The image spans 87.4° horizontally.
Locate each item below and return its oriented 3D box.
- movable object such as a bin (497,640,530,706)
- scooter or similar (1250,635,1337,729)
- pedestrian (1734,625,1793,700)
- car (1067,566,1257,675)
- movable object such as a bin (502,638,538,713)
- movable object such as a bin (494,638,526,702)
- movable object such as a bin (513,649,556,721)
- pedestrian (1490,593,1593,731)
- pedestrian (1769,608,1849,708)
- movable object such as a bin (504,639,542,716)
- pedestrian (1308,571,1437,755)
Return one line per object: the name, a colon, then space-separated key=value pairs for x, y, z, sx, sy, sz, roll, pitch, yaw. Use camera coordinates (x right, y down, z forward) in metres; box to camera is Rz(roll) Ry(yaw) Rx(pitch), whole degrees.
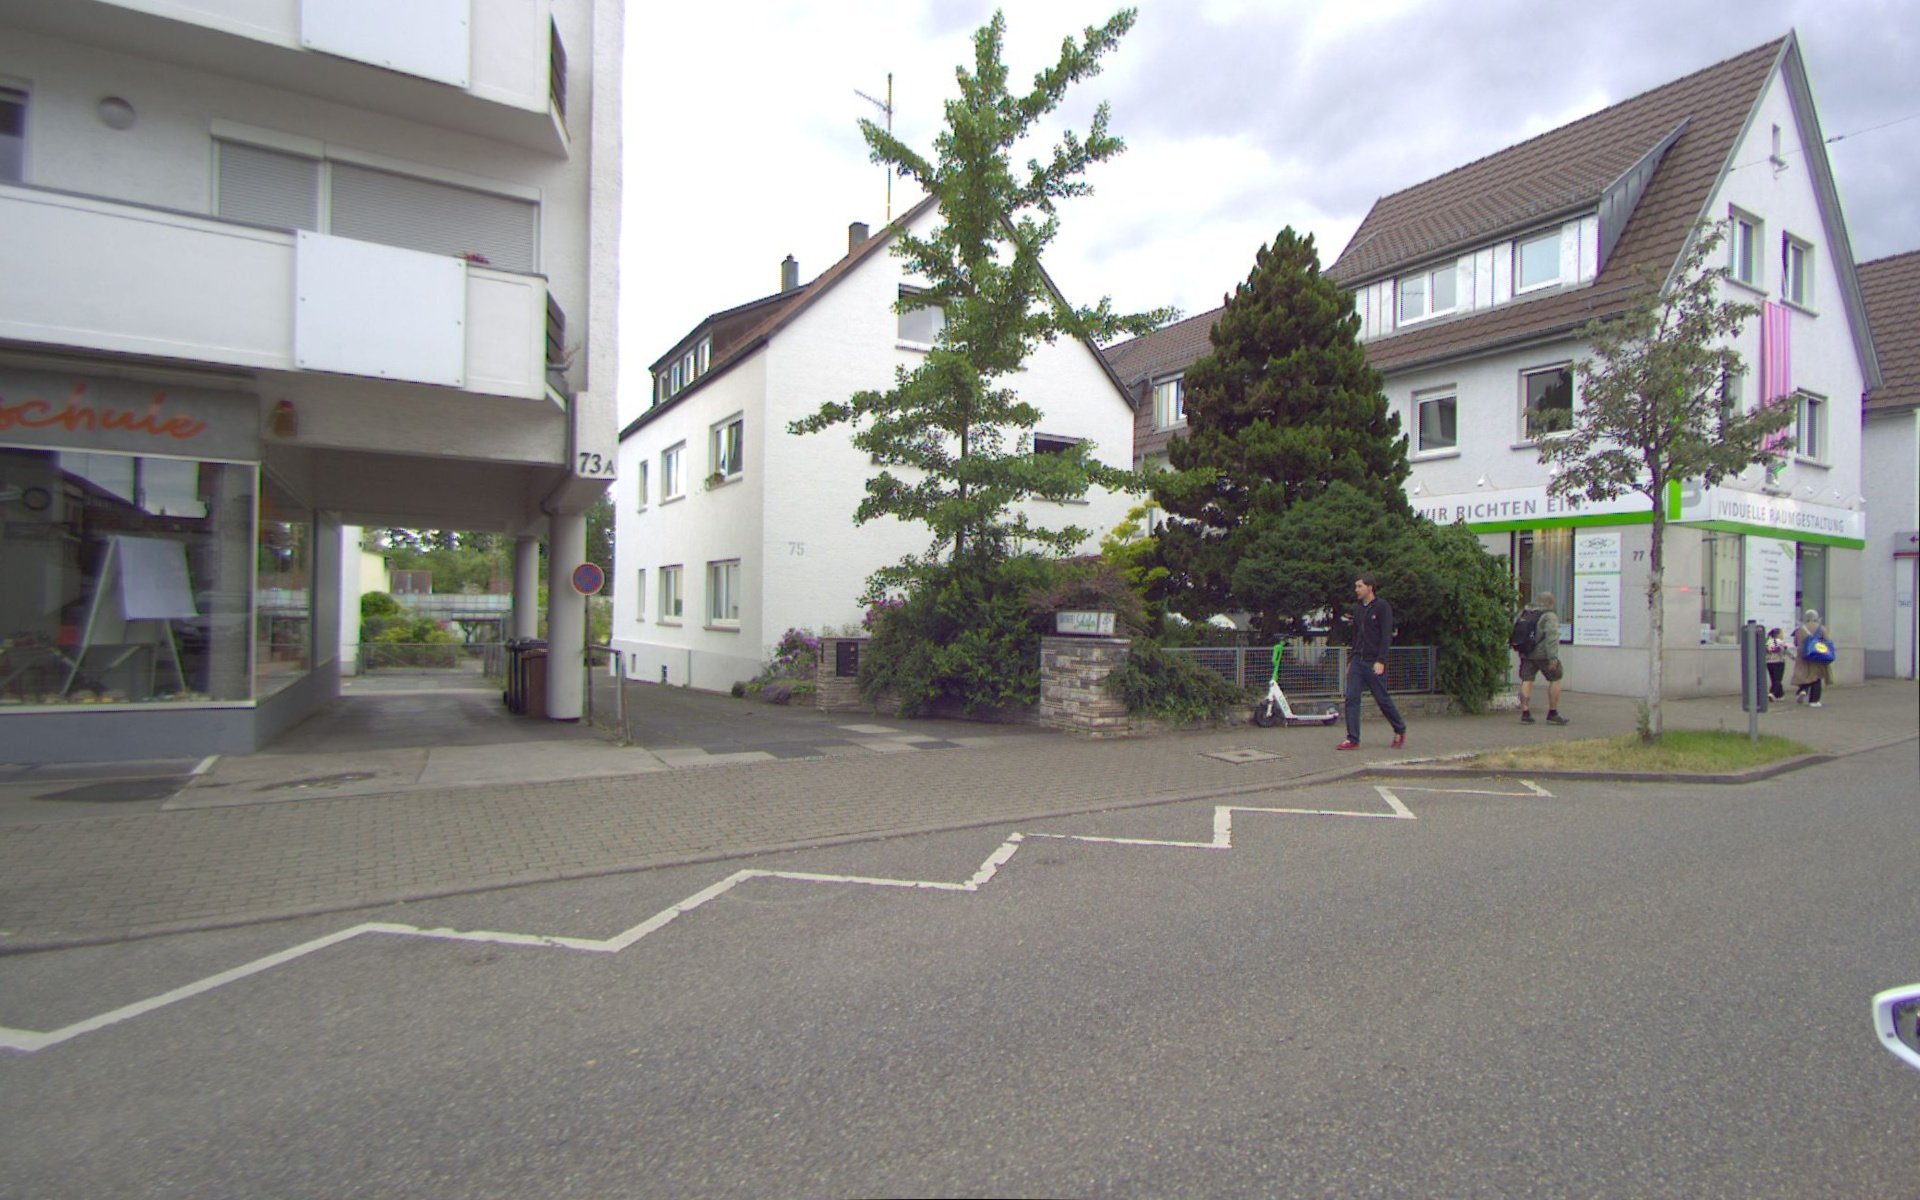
movable object such as a bin: x=-7.369 y=1.191 z=16.573 sx=0.436 sy=1.071 sz=0.486 roll=1 pitch=-2 yaw=-30
scooter or similar: x=4.218 y=1.013 z=12.670 sx=1.166 sy=1.126 sz=0.338 roll=1 pitch=0 yaw=-30
pedestrian: x=14.433 y=1.109 z=18.046 sx=0.647 sy=1.297 sz=0.596 roll=1 pitch=1 yaw=-30
car: x=5.009 y=0.536 z=25.773 sx=1.974 sy=2.496 sz=5.281 roll=1 pitch=-2 yaw=-27
movable object such as a bin: x=-6.450 y=1.096 z=14.716 sx=0.436 sy=1.071 sz=0.486 roll=1 pitch=-2 yaw=-30
movable object such as a bin: x=-7.685 y=1.189 z=17.152 sx=0.436 sy=1.071 sz=0.486 roll=1 pitch=-2 yaw=-30
movable object such as a bin: x=-5.787 y=1.140 z=13.644 sx=0.465 sy=0.945 sz=0.597 roll=1 pitch=-2 yaw=-30
pedestrian: x=7.866 y=0.814 z=13.596 sx=1.007 sy=1.767 sz=0.748 roll=1 pitch=2 yaw=-30
pedestrian: x=14.618 y=0.982 z=17.297 sx=0.783 sy=1.638 sz=0.748 roll=1 pitch=3 yaw=-30
movable object such as a bin: x=-6.201 y=1.084 z=14.257 sx=0.436 sy=1.071 sz=0.486 roll=1 pitch=-2 yaw=-30
pedestrian: x=4.486 y=0.655 z=10.941 sx=1.007 sy=1.874 sz=0.748 roll=1 pitch=3 yaw=-30
